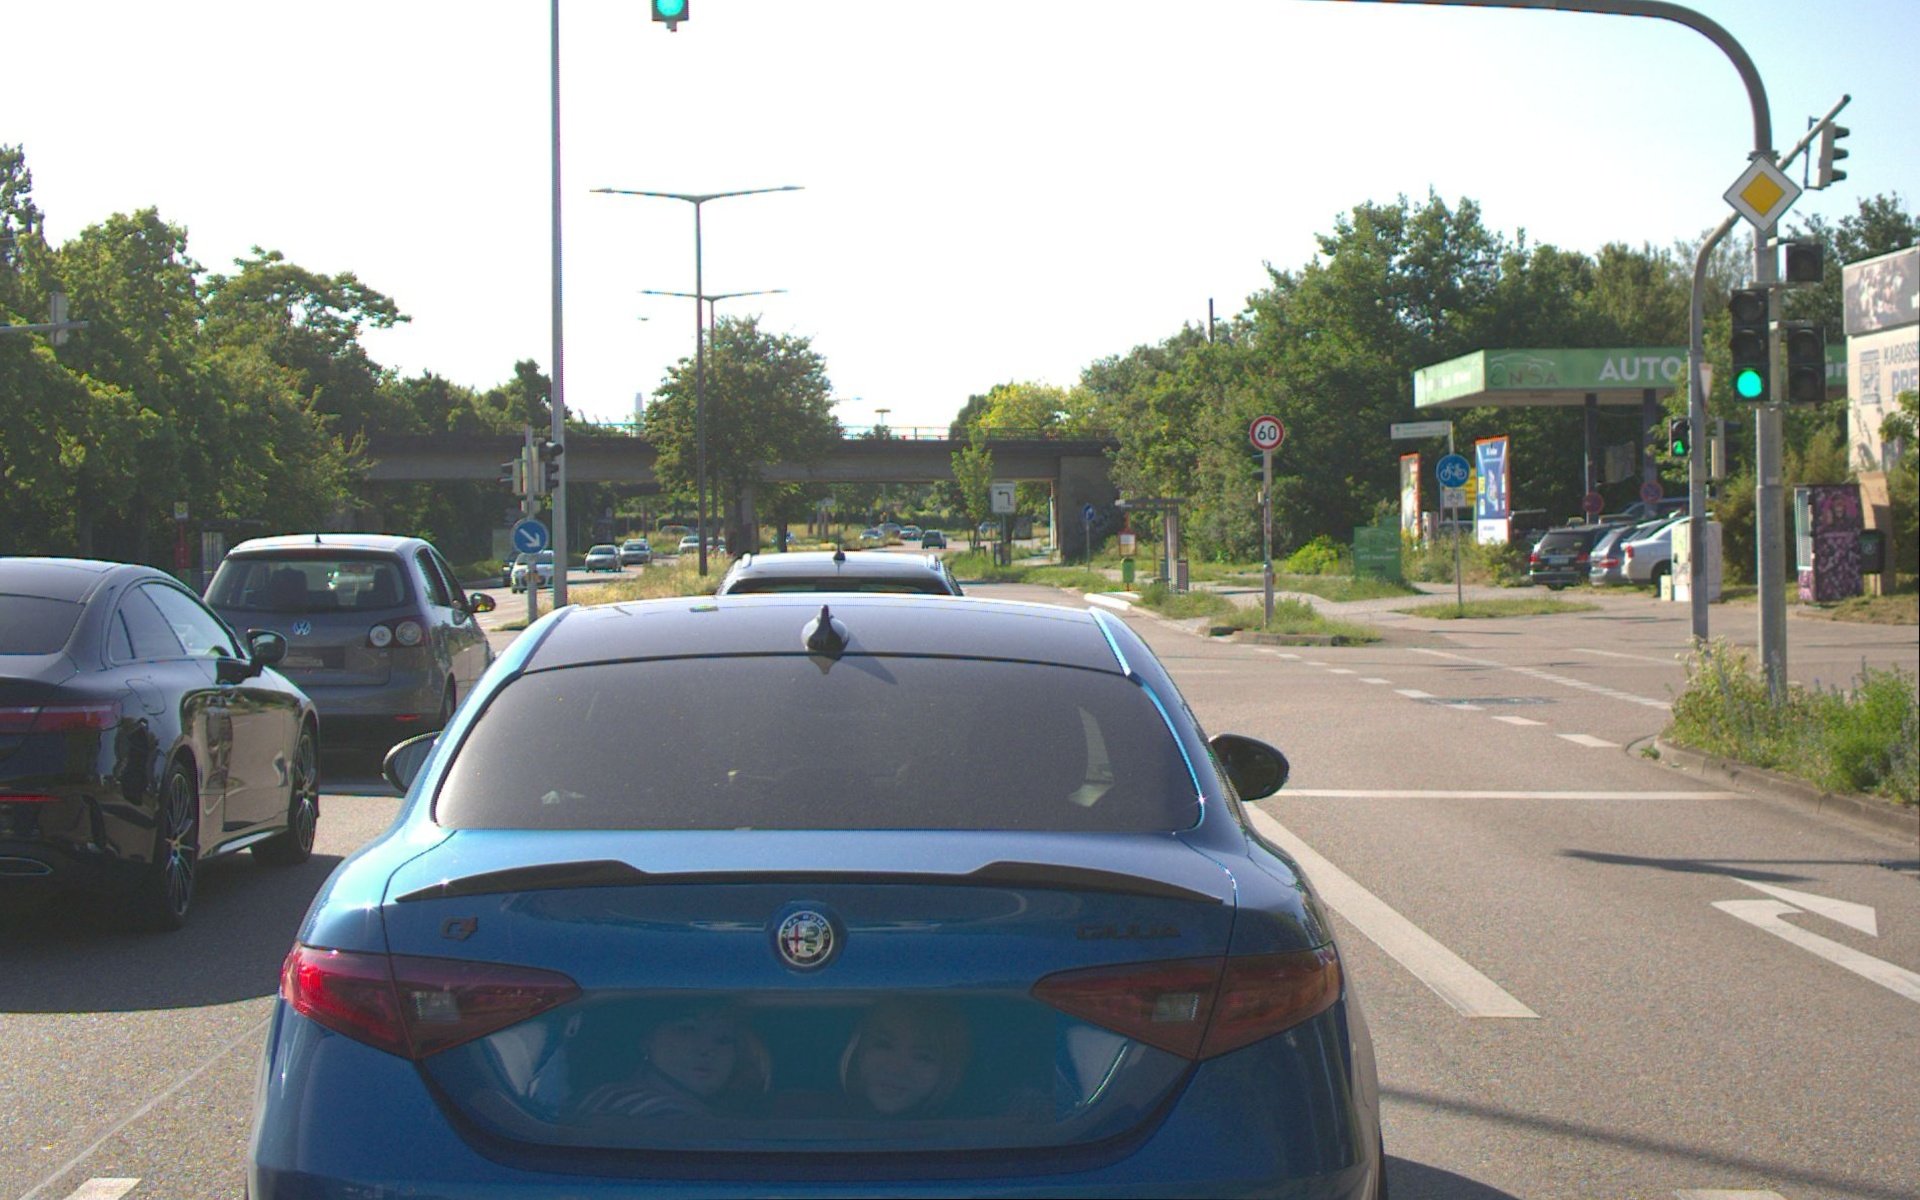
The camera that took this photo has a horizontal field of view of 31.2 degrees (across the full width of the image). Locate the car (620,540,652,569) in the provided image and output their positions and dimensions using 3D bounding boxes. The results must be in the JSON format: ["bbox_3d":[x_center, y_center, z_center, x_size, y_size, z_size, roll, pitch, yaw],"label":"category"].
[{"bbox_3d":[-19.307,-2.700,205.039,1.609,1.641,3.463,1,0,-1],"label":"car"}]

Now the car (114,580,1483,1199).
[{"bbox_3d":[-0.287,0.681,6.994,1.895,1.413,4.403,1,0,-2],"label":"car"}]

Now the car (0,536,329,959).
[{"bbox_3d":[-3.888,0.495,14.324,1.796,1.485,4.476,1,0,-2],"label":"car"}]

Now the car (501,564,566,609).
[{"bbox_3d":[-14.717,-0.479,118.739,1.759,1.485,3.837,-2,1,0],"label":"car"}]

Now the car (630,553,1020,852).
[{"bbox_3d":[-0.708,0.476,18.688,1.850,1.413,4.403,1,0,-2],"label":"car"}]

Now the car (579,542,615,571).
[{"bbox_3d":[-19.634,-2.335,185.882,1.615,1.554,3.358,1,0,-1],"label":"car"}]

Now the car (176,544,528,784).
[{"bbox_3d":[-4.103,0.389,23.846,1.759,1.485,4.403,1,0,-2],"label":"car"}]

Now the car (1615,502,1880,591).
[{"bbox_3d":[14.688,-0.995,64.297,4.489,1.449,1.858,-2,1,1],"label":"car"}]

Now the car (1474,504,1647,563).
[{"bbox_3d":[16.976,-1.883,97.310,4.551,1.485,1.765,-2,1,1],"label":"car"}]

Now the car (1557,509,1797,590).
[{"bbox_3d":[14.624,-1.026,70.247,4.489,1.449,1.858,-2,1,1],"label":"car"}]

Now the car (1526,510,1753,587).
[{"bbox_3d":[14.618,-1.104,74.101,4.489,1.449,1.858,-2,1,1],"label":"car"}]

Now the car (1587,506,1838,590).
[{"bbox_3d":[14.710,-1.015,67.387,4.489,1.449,1.858,-2,1,1],"label":"car"}]
